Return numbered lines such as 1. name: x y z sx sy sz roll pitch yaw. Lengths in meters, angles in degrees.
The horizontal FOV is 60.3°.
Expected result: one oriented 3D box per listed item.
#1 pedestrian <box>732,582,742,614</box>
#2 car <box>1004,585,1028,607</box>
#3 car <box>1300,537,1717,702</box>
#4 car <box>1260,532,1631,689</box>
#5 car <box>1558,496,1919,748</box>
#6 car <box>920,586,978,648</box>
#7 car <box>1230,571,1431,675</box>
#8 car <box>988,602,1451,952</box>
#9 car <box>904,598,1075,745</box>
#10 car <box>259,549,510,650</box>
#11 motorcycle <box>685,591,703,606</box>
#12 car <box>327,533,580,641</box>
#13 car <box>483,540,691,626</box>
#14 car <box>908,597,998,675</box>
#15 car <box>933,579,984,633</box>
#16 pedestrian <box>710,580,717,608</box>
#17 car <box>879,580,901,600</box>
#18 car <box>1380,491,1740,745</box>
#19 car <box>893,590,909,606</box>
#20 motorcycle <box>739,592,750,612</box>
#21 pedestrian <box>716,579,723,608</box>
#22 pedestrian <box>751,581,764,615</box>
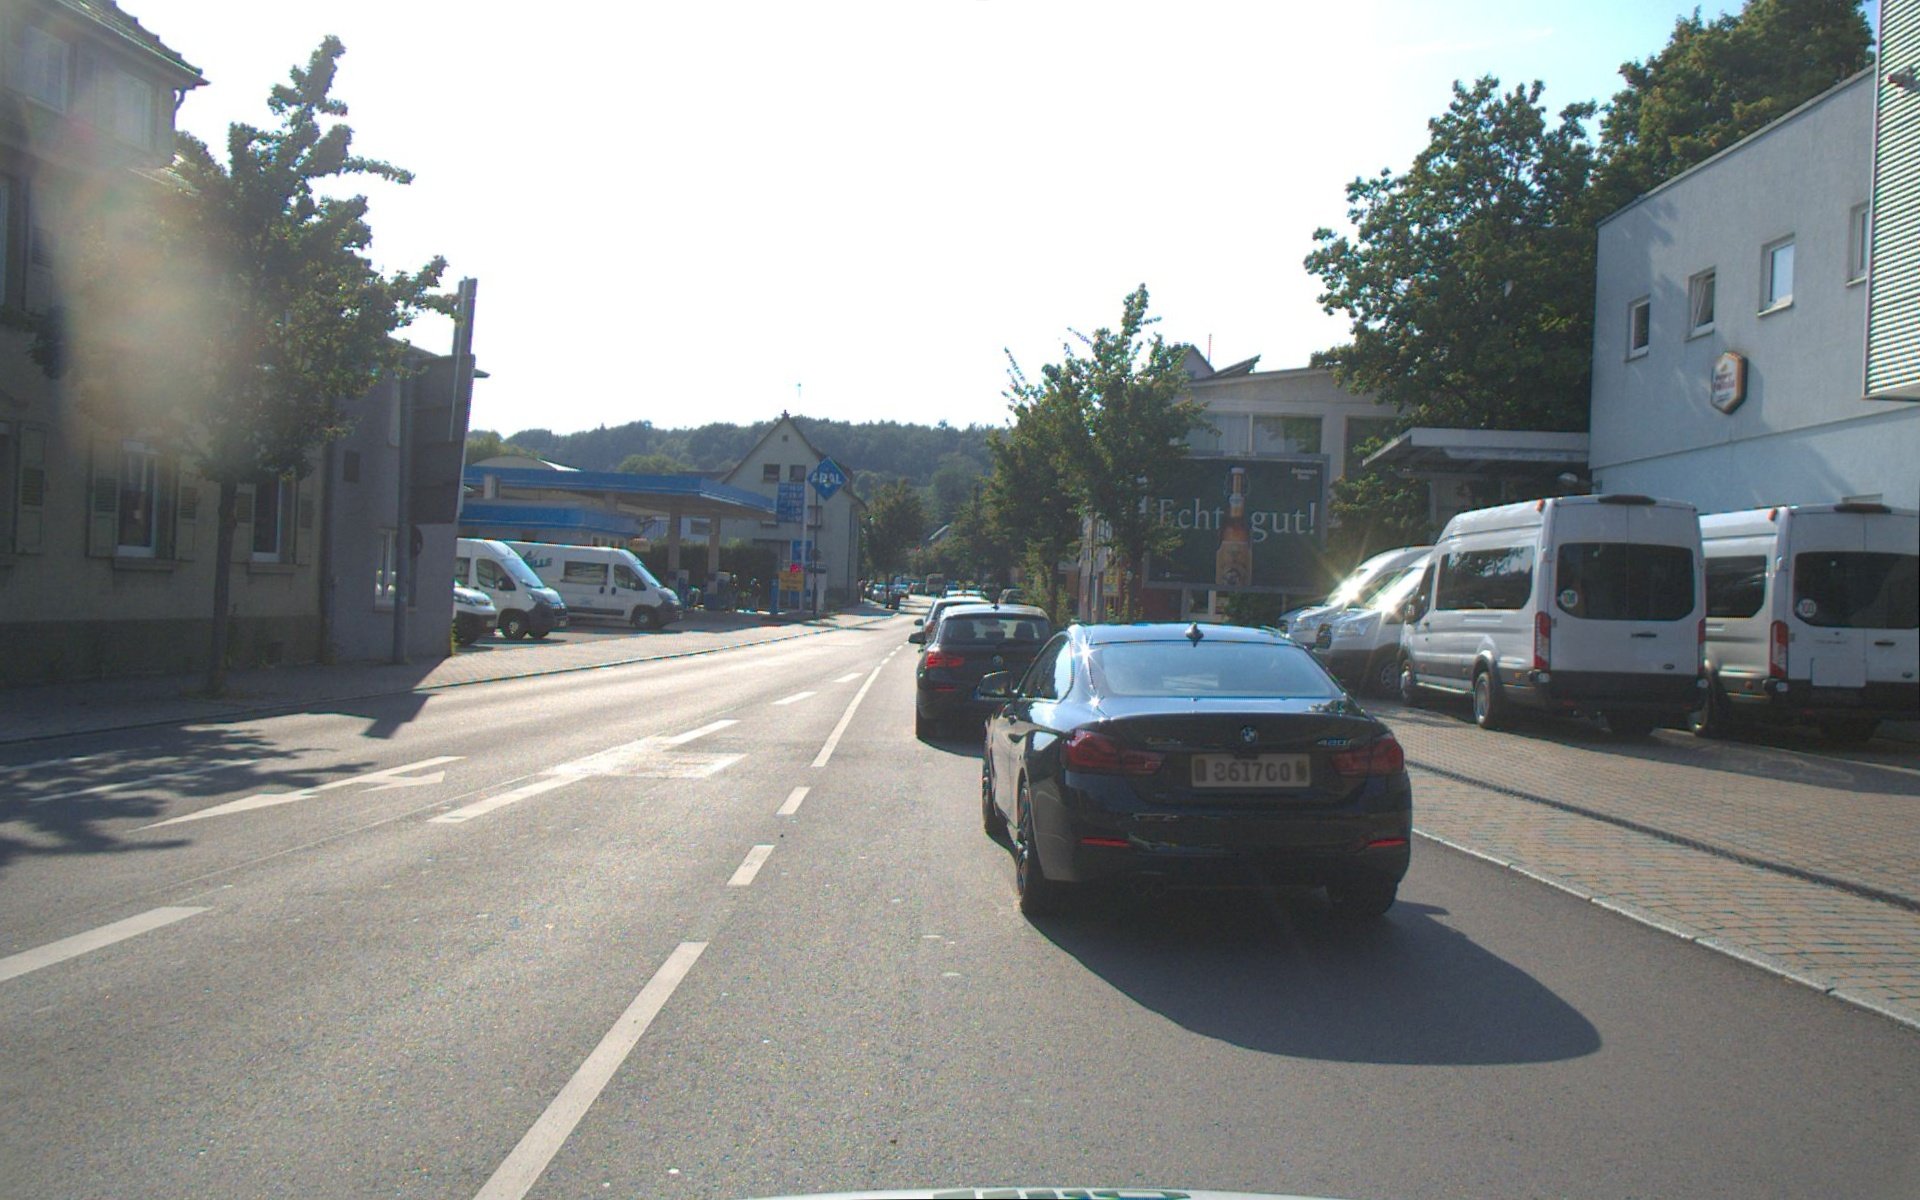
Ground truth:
1. pedestrian: -11.294 -0.099 83.811 0.399 1.574 0.432 1 0 -3
2. car: 3.995 -0.302 118.422 1.564 1.511 3.474 2 1 -1
3. car: 8.604 0.285 26.279 5.922 2.404 2.043 1 1 -2
4. car: 8.483 0.169 29.264 5.922 2.560 2.043 1 1 -2
5. car: 10.085 0.206 21.568 2.068 2.769 6.442 1 1 -1
6. car: -0.313 0.451 47.136 1.559 1.628 3.893 1 1 -1
7. car: 7.223 0.427 32.406 3.527 1.927 1.586 1 1 -3
8. car: 1.131 0.748 9.075 1.666 1.393 4.260 0 1 -3
9. car: 0.355 0.737 18.851 1.735 1.482 3.516 1 0 1
10. car: -12.838 -0.020 37.069 4.872 2.034 1.936 2 0 3
11. motorcycle: -13.477 -0.082 83.813 0.449 0.742 1.475 1 0 7
12. car: -13.119 -0.351 43.053 5.795 2.523 2.195 2 1 5
13. car: -11.824 -0.545 52.755 6.032 2.487 2.250 2 1 0
14. car: -0.146 0.703 33.766 1.718 1.438 3.421 1 1 0
15. car: -0.013 0.181 57.300 1.569 1.798 3.412 1 1 3
16. pedestrian: -12.270 -0.312 82.302 0.281 1.390 0.262 1 0 -4
17. car: -5.499 -0.815 130.693 1.564 1.511 3.474 2 1 -1
18. car: 7.369 0.154 21.298 2.106 2.727 6.602 1 1 -1
19. car: -6.142 -0.198 172.132 1.564 1.511 3.474 2 1 -1
20. motorcycle: -10.865 0.082 83.364 0.356 0.960 1.695 1 1 -1
21. pedestrian: -12.064 -0.331 83.004 0.257 1.407 0.288 1 0 -2
22. pedestrian: -10.229 -0.114 83.705 0.598 1.699 0.442 1 0 -3
